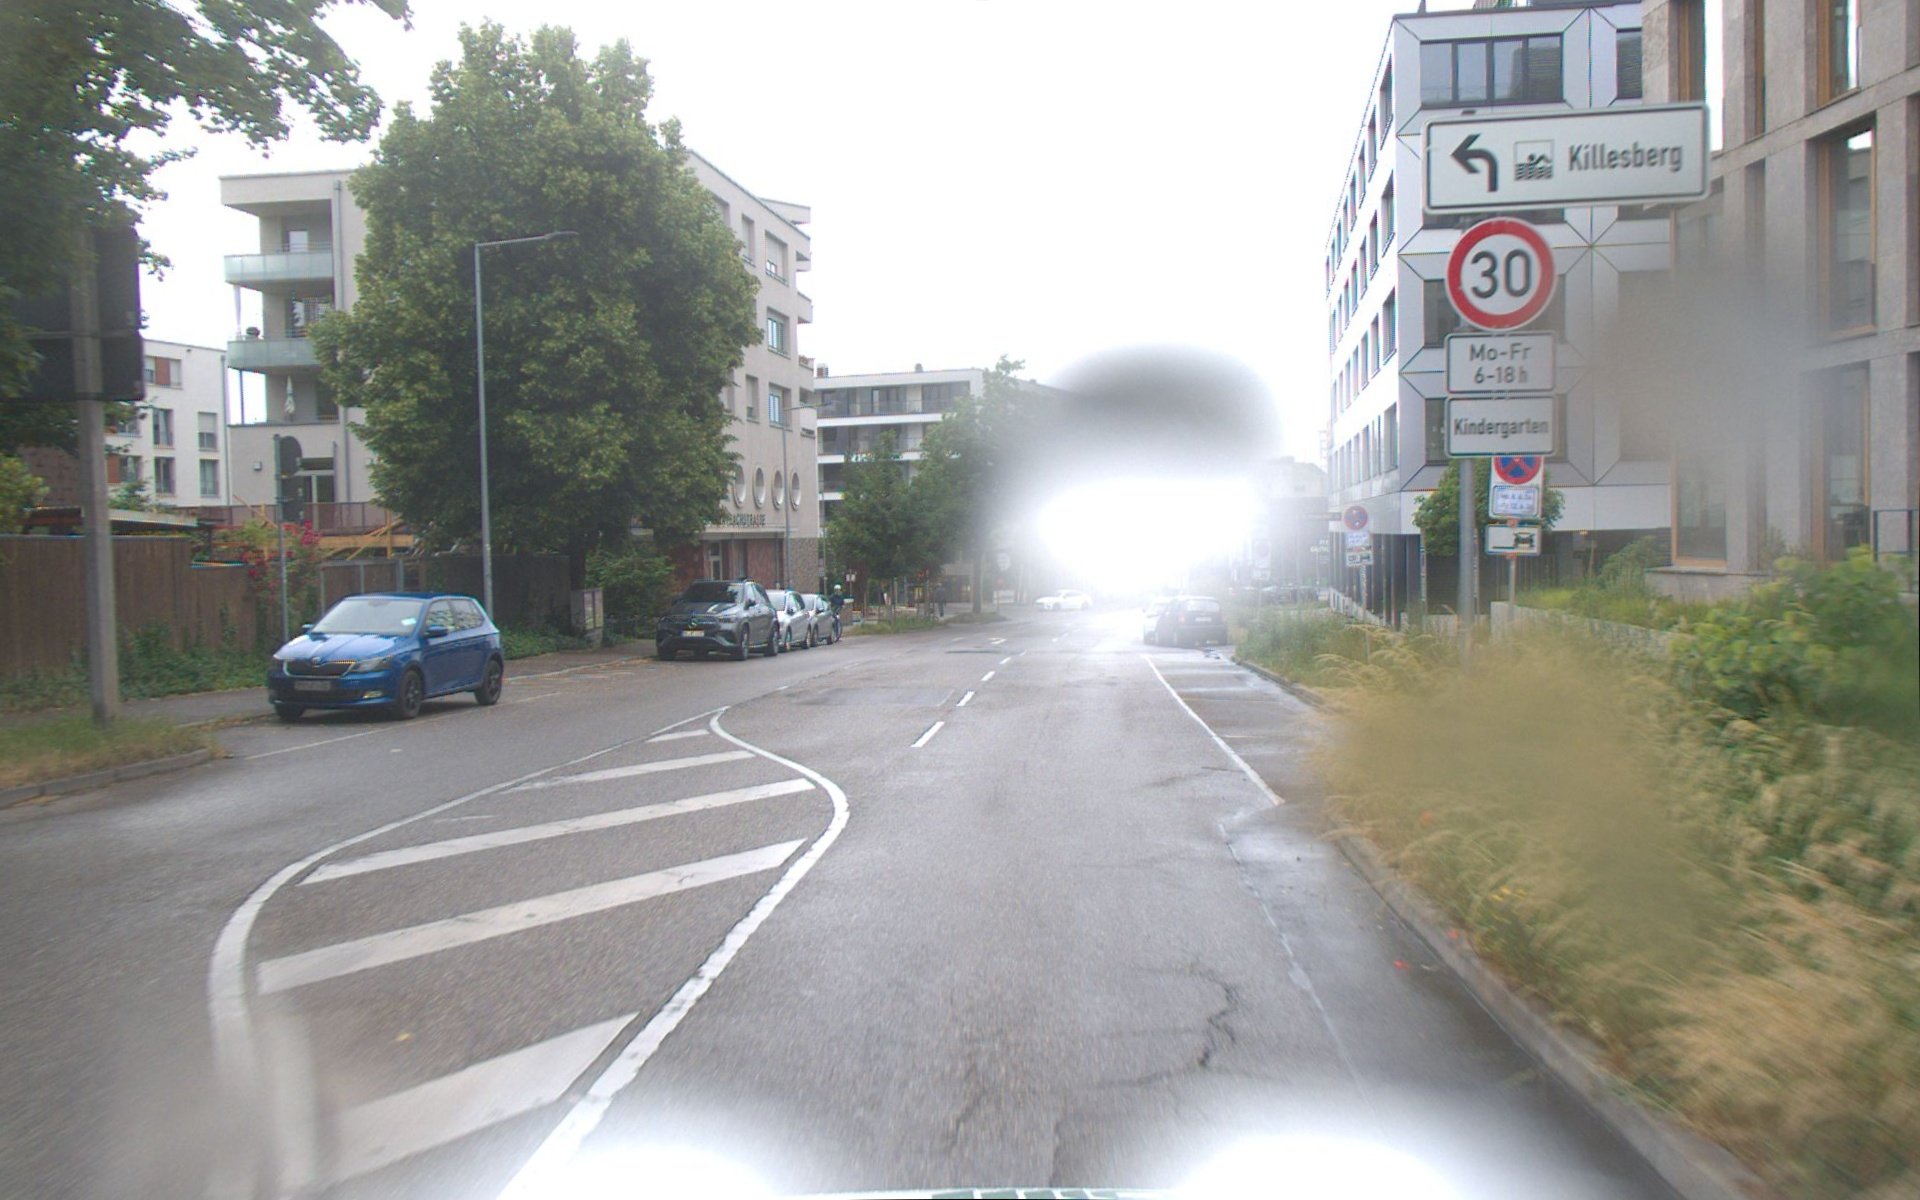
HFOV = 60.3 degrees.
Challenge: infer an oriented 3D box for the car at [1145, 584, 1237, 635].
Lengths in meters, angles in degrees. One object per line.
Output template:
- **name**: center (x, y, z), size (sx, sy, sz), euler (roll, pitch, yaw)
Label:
- **car**: center (7.039, 0.260, 50.844), size (2.004, 1.483, 4.052), euler (0, 1, -4)

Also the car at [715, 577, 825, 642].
- **car**: center (-4.962, 0.233, 43.781), size (1.947, 1.621, 4.493), euler (0, 0, 6)

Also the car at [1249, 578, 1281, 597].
- **car**: center (23.934, -0.973, 129.563), size (1.770, 1.510, 4.496), euler (0, 0, 20)

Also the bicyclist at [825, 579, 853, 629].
- **bicyclist**: center (-3.784, 0.129, 51.763), size (0.784, 1.549, 1.202), euler (0, 0, 1)

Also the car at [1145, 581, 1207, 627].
- **car**: center (7.265, 0.100, 55.899), size (1.996, 1.490, 4.506), euler (0, 1, 7)

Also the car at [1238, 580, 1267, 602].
- **car**: center (22.057, -0.683, 124.618), size (1.514, 1.504, 3.661), euler (0, 1, 21)

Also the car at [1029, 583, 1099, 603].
- **car**: center (7.349, -0.492, 116.684), size (4.640, 1.315, 1.979), euler (-1, 0, -31)

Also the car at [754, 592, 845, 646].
- **car**: center (-4.598, 0.533, 47.997), size (1.839, 1.488, 3.850), euler (0, 0, 7)

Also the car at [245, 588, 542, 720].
- **car**: center (-6.967, 0.608, 20.860), size (1.951, 1.496, 4.188), euler (0, 0, 6)

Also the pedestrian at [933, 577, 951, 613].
- **pedestrian**: center (-1.067, -0.304, 95.948), size (1.033, 2.049, 1.099), euler (0, 0, -1)

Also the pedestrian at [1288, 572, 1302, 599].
- **pedestrian**: center (22.960, -1.003, 113.315), size (0.805, 1.827, 1.209), euler (-2, 0, 14)

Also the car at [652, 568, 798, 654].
- **car**: center (-5.300, 0.227, 38.103), size (1.951, 1.817, 5.415), euler (0, 0, 7)

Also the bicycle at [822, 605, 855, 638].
- **bicycle**: center (-3.789, 0.654, 51.695), size (0.785, 0.996, 2.255), euler (0, 0, 2)
